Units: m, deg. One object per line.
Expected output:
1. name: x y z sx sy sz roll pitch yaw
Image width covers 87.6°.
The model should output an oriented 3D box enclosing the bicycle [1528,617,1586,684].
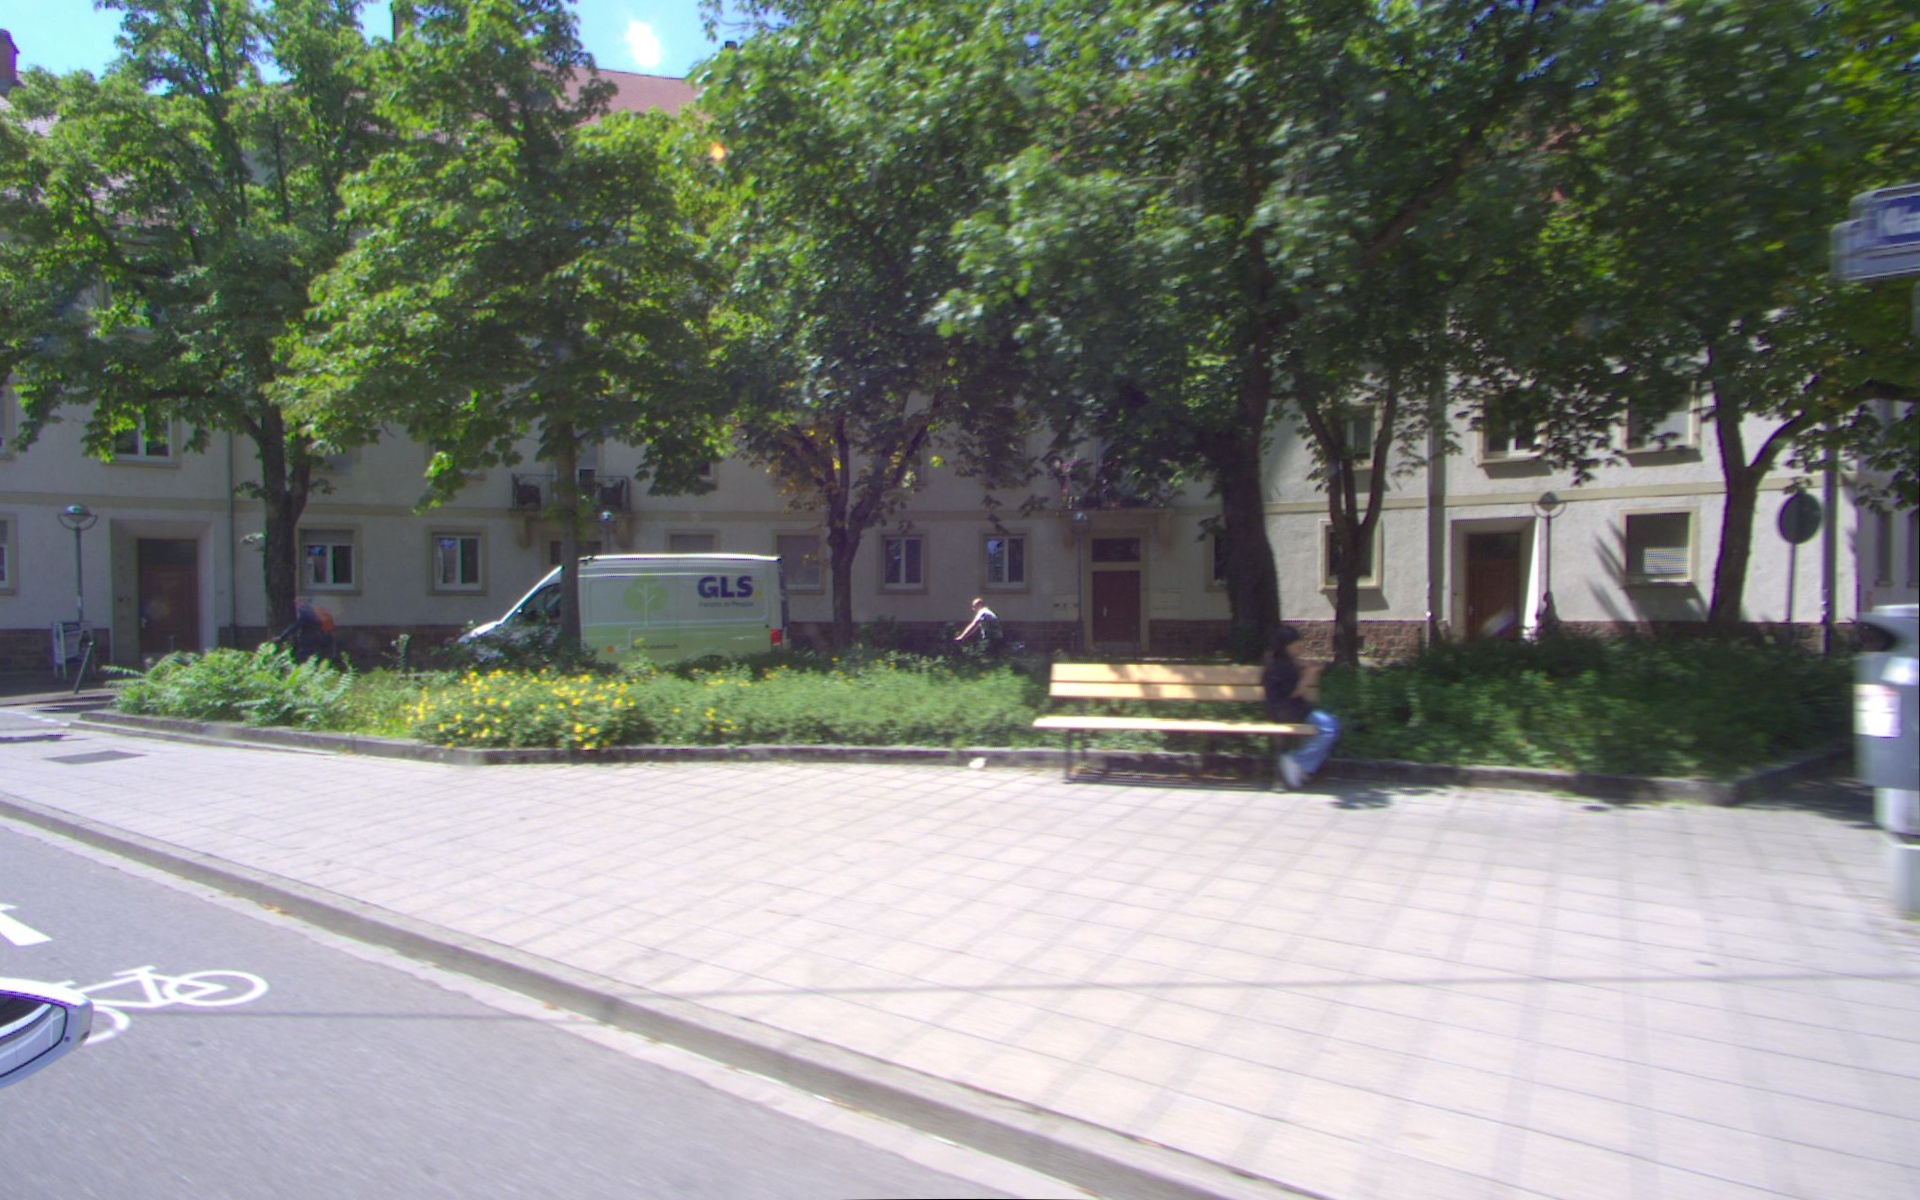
1. bicycle: 12.363 1.027 20.702 0.542 1.317 2.139 -1 -1 44

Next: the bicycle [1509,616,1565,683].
1. bicycle: 12.382 1.037 21.452 0.510 1.365 2.223 -1 -1 44

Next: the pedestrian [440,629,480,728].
1. pedestrian: -6.727 1.043 13.476 0.345 1.301 0.365 0 -1 32

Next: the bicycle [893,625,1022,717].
1. bicycle: -0.056 1.184 16.895 2.126 1.504 0.593 0 -1 -4

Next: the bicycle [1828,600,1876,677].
1. bicycle: 16.144 0.678 18.102 0.542 1.317 2.139 -1 -1 44

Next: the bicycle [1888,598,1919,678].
1. bicycle: 16.533 0.647 17.401 0.542 1.317 2.139 -1 -1 44

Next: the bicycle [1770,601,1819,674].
1. bicycle: 15.919 0.705 19.086 0.542 1.317 2.139 -1 -1 44

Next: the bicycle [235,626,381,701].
1. bicycle: -11.343 1.079 17.500 2.054 1.252 0.579 0 -1 -24

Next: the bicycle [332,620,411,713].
1. bicycle: -7.537 0.847 12.806 1.269 1.141 0.332 -2 -2 33

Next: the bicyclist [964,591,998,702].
1. bicyclist: 0.346 0.767 16.797 0.524 1.823 0.604 0 -1 -3

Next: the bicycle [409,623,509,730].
1. bicycle: -6.774 1.000 13.500 1.809 1.377 0.351 -1 -1 33

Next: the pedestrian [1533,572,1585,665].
1. pedestrian: 13.507 0.417 22.591 0.798 2.040 0.767 0 -1 -39

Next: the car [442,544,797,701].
1. car: -5.889 0.403 18.009 5.738 2.623 2.000 0 -1 -7

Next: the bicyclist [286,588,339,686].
1. bicyclist: -11.309 0.647 17.511 0.684 1.667 0.578 0 -1 -23

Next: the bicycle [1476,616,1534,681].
1. bicycle: 11.945 1.038 21.901 0.510 1.361 2.307 -1 -1 44

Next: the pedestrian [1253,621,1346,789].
1. pedestrian: 2.401 0.714 7.070 0.472 1.107 0.507 1 3 39
